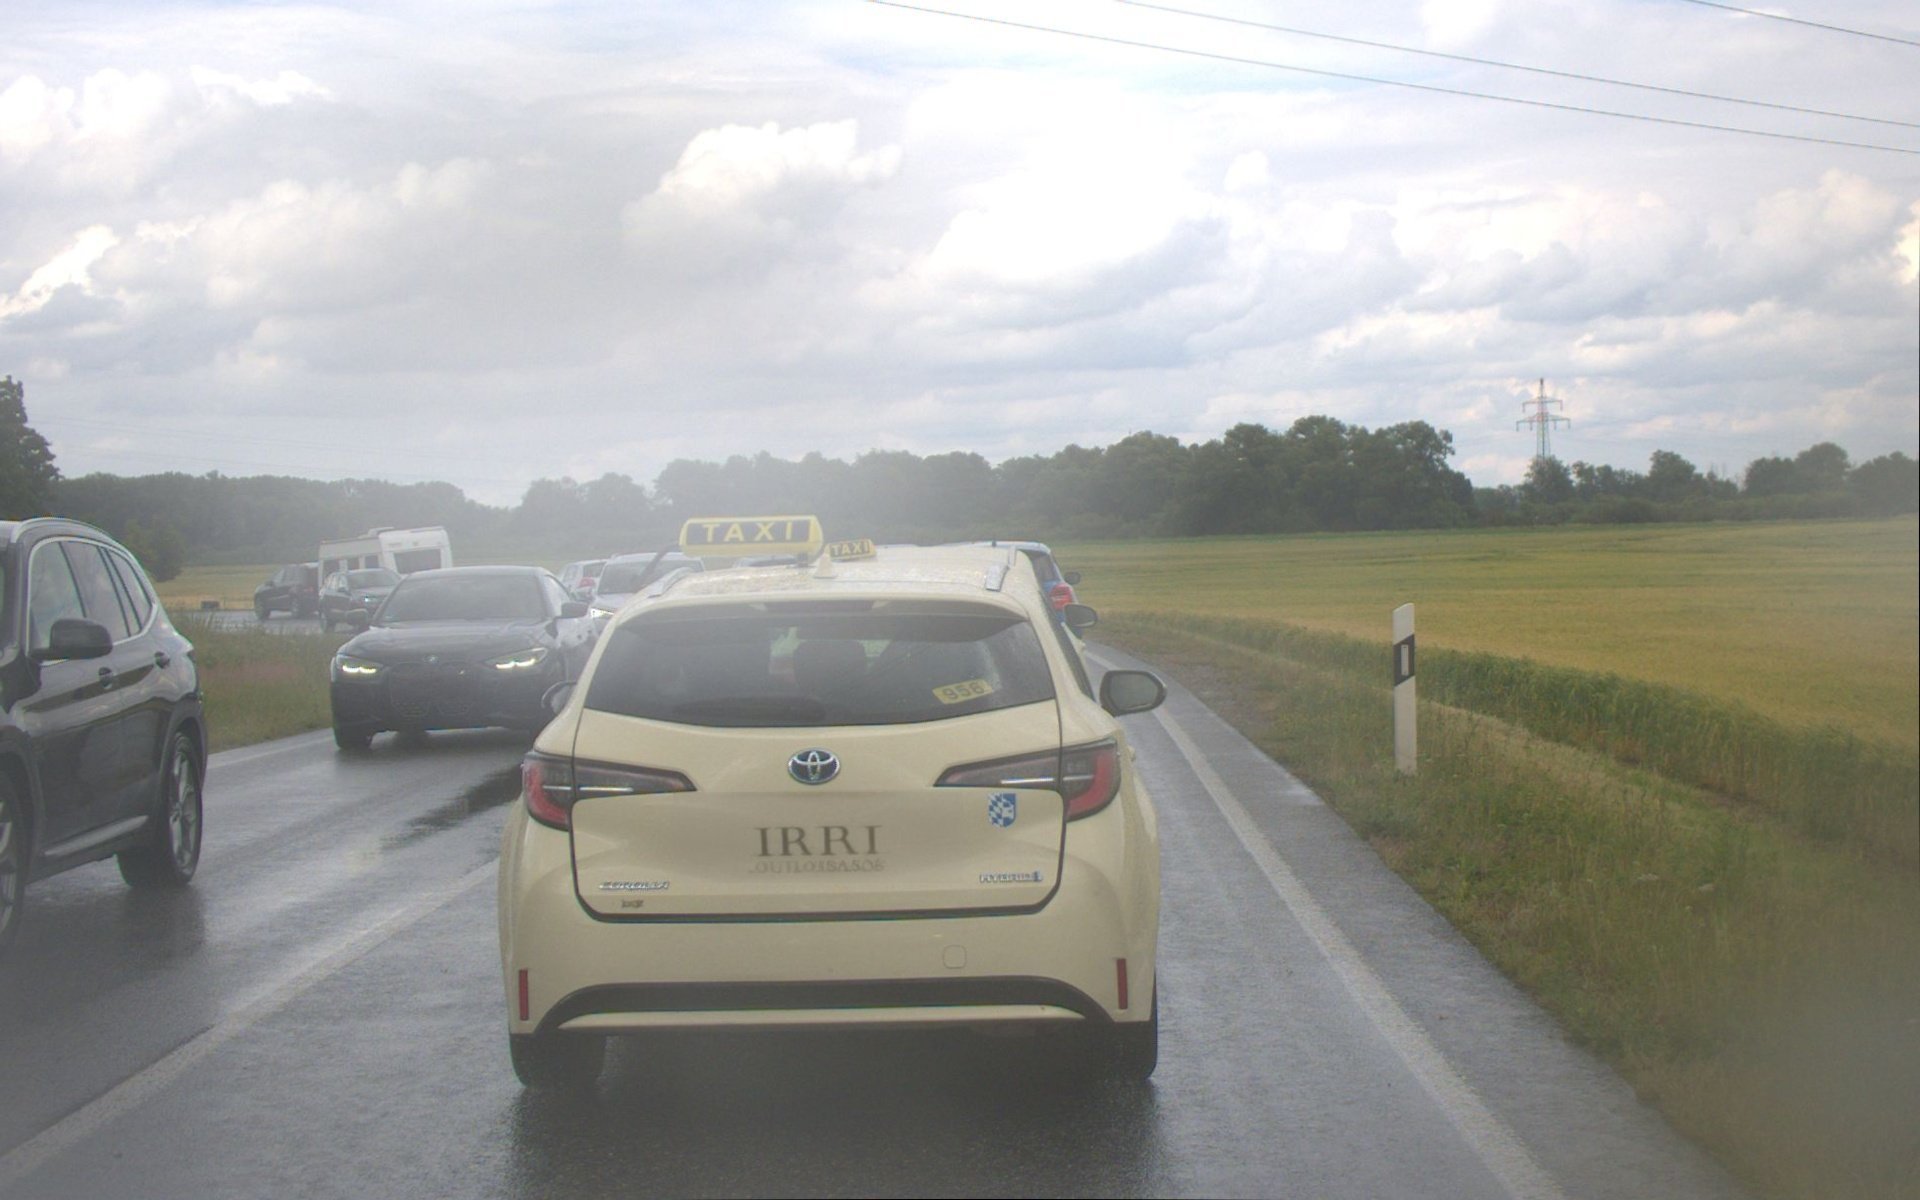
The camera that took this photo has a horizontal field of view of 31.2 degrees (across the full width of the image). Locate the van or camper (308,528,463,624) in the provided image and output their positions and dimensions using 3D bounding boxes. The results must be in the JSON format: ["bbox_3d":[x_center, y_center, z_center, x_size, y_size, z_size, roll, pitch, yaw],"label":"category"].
[{"bbox_3d":[-18.154,-0.787,108.378,2.536,2.886,6.743,1,1,-30],"label":"van or camper"}]

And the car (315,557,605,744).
[{"bbox_3d":[-4.162,0.378,29.189,1.849,1.443,4.091,-1,1,0],"label":"car"}]

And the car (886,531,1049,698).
[{"bbox_3d":[0.123,0.166,36.462,1.613,1.653,3.738,1,-1,2],"label":"car"}]

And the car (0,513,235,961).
[{"bbox_3d":[-4.391,0.482,14.023,1.849,1.626,4.534,0,1,1],"label":"car"}]

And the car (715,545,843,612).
[{"bbox_3d":[-4.090,-0.464,77.064,1.959,1.408,4.393,1,-1,-15],"label":"car"}]

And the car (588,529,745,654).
[{"bbox_3d":[-3.977,-0.134,47.090,1.909,1.604,4.091,-1,1,-2],"label":"car"}]

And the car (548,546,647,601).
[{"bbox_3d":[-9.782,-0.695,92.558,1.783,1.408,3.739,1,-1,-20],"label":"car"}]

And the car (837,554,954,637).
[{"bbox_3d":[-1.182,-0.066,61.585,1.612,1.408,3.739,1,-1,-8],"label":"car"}]

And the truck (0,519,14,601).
[{"bbox_3d":[-40.985,-1.609,135.913,8.227,3.198,3.015,1,-1,44],"label":"truck"}]

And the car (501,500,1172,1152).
[{"bbox_3d":[-0.231,0.571,10.286,1.613,1.557,3.738,1,-1,2],"label":"car"}]

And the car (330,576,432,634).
[{"bbox_3d":[-16.278,0.138,96.533,1.757,1.554,4.001,2,-1,-26],"label":"car"}]

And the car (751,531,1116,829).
[{"bbox_3d":[-0.173,0.388,19.929,1.841,1.487,4.608,1,1,-1],"label":"car"}]
